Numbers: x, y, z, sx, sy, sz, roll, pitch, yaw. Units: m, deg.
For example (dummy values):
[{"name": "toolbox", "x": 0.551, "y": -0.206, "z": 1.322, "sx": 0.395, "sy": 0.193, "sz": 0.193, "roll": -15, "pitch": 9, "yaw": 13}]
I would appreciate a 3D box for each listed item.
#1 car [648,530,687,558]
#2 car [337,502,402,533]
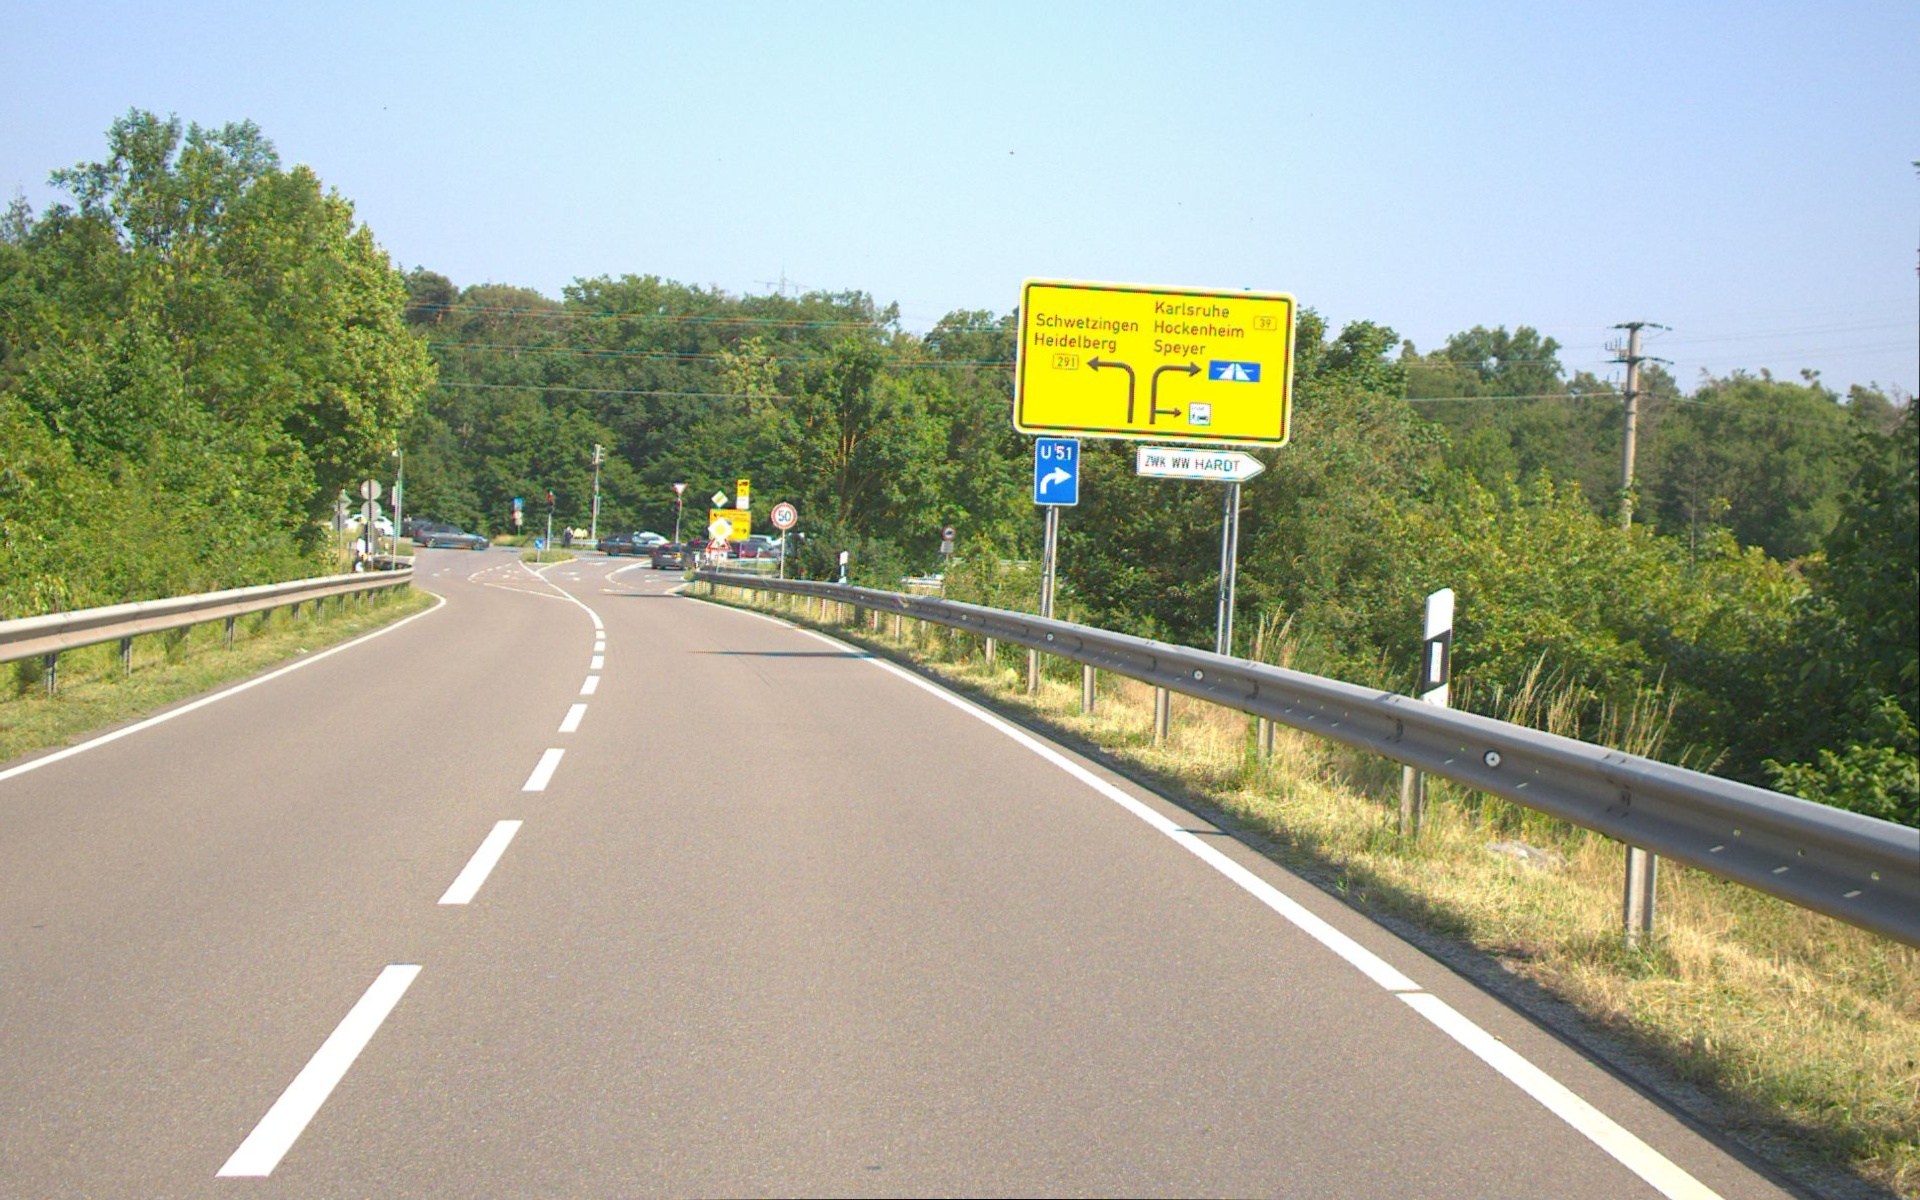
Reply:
[{"name": "car", "x": -16.051, "y": -3.097, "z": 188.706, "sx": 1.799, "sy": 1.393, "sz": 4.000, "roll": -4, "pitch": 1, "yaw": -1}, {"name": "car", "x": -39.668, "y": -5.555, "z": 230.953, "sx": 3.986, "sy": 2.007, "sz": 1.796, "roll": 0, "pitch": 1, "yaw": -28}]
